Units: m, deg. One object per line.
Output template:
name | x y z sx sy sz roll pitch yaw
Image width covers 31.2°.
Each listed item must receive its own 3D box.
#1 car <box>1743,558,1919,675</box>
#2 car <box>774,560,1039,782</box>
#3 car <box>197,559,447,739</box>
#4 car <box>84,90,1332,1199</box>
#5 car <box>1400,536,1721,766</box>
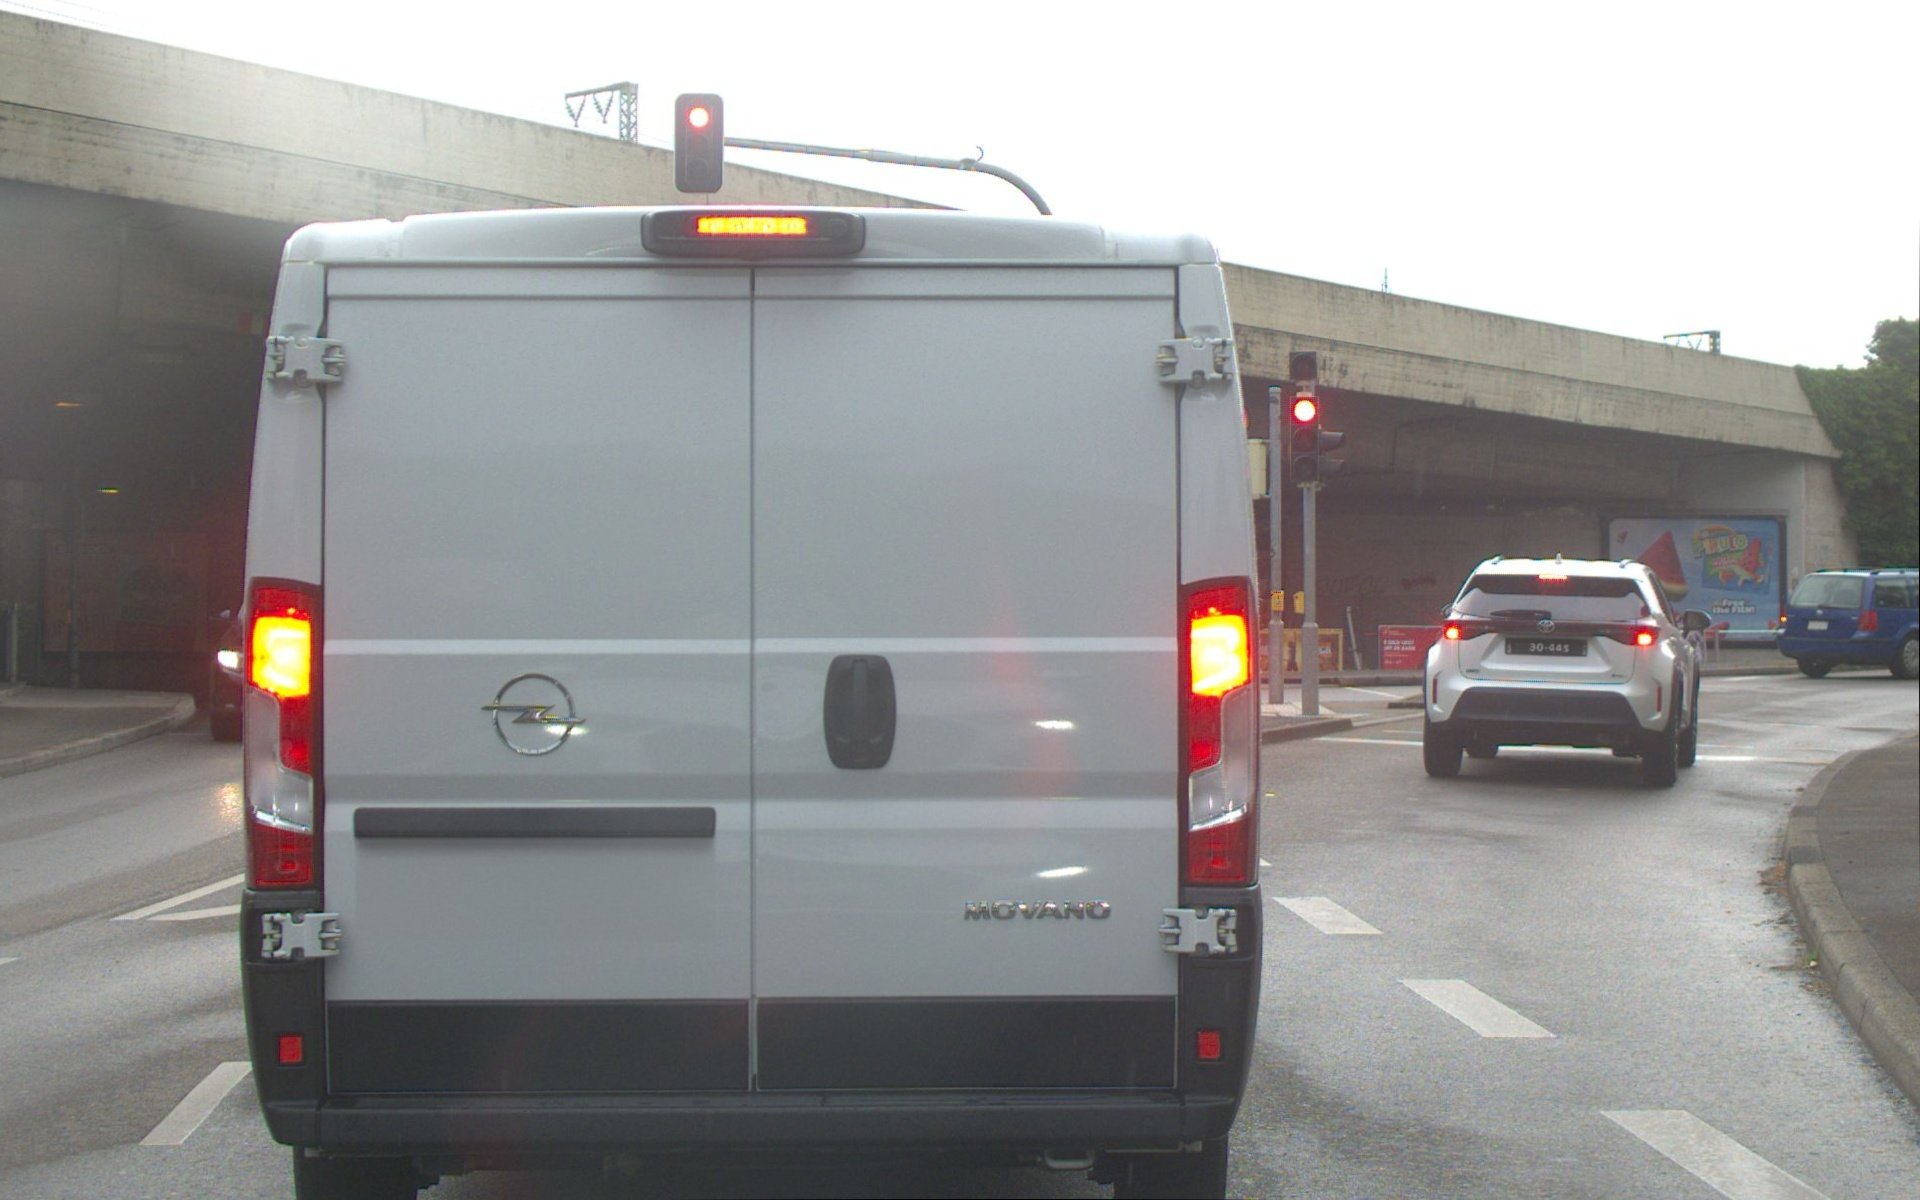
car | 12.620 0.239 46.143 3.987 1.513 2.000 1 -1 -36
car | -0.370 0.577 28.792 1.994 1.723 3.999 0 -1 2
car | -6.107 0.428 33.350 1.914 1.621 4.435 0 0 -4
car | -0.474 0.251 9.098 2.305 2.335 5.282 -1 0 0
car | 4.489 0.368 25.253 1.995 1.544 3.997 0 -1 15
